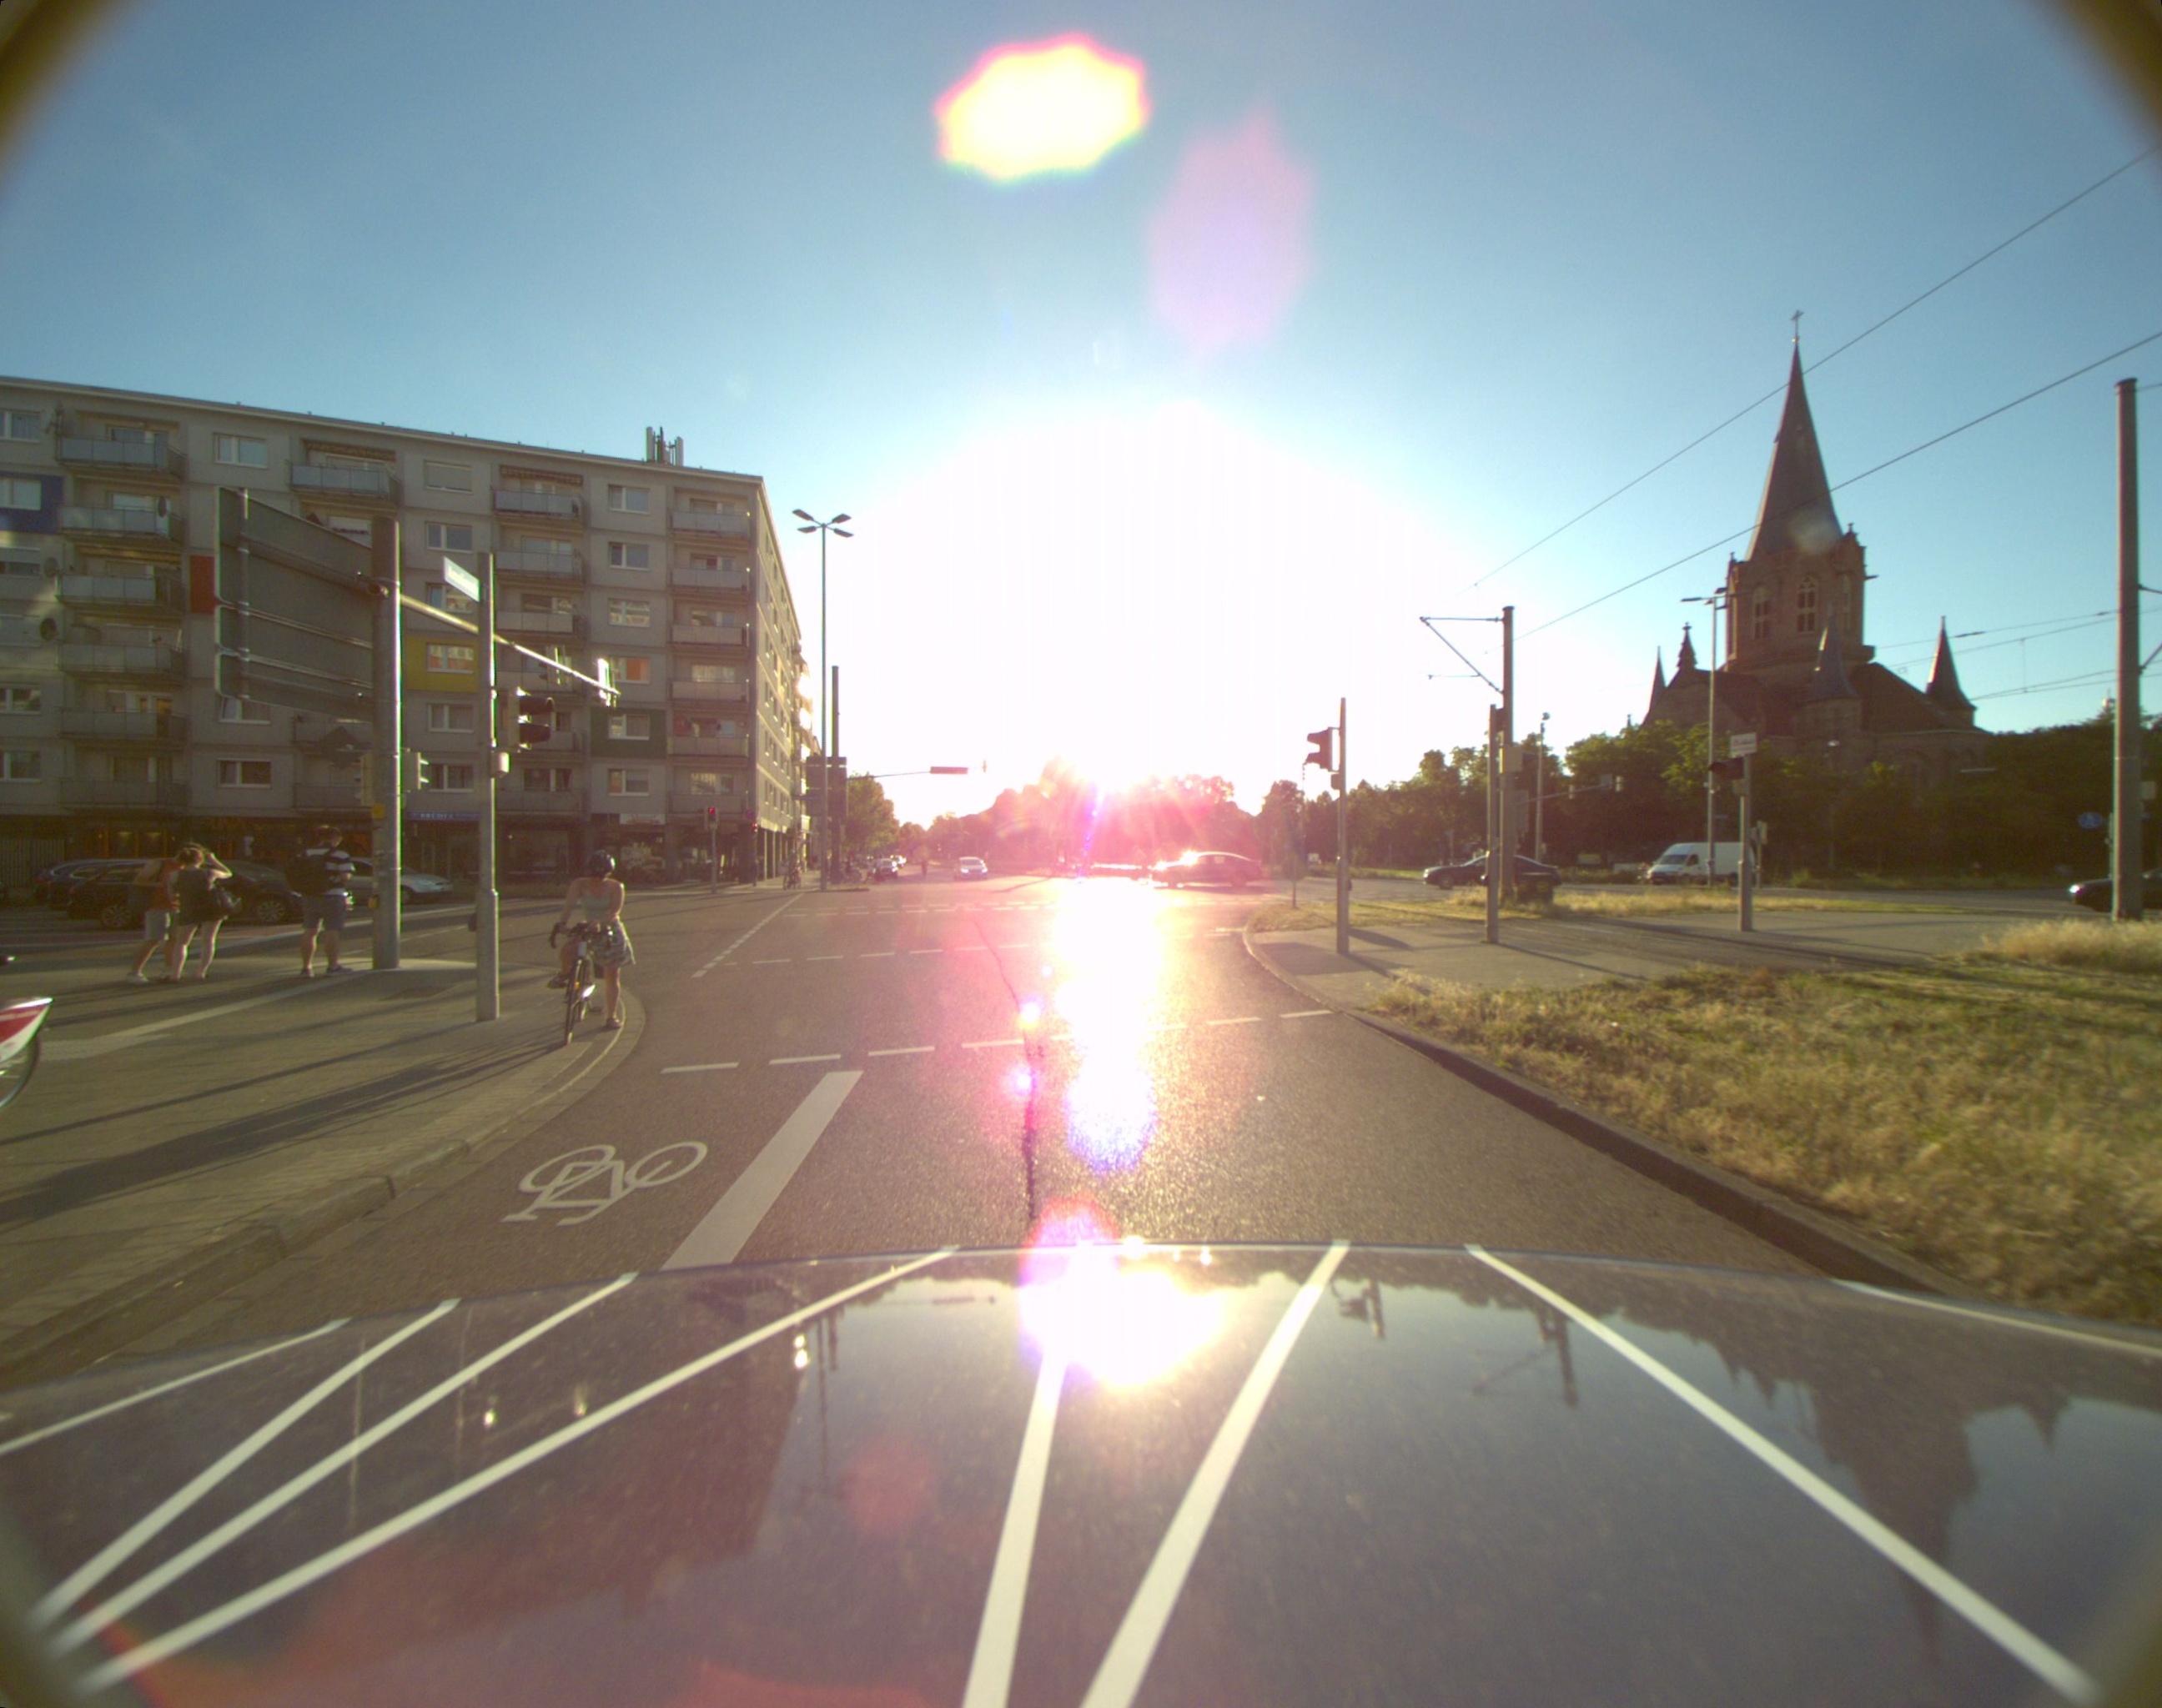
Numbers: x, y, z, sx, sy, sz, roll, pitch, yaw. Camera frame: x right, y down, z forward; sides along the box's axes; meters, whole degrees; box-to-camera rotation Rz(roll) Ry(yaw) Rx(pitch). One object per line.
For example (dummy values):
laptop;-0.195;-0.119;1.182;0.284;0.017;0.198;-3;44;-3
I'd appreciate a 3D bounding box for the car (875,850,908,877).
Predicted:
car;-14.715;0.693;58.872;2.002;2.002;3.993;-1;0;-20

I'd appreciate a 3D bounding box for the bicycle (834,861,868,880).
bicycle;-14.194;1.017;46.846;1.958;1.114;0.458;-1;0;-13

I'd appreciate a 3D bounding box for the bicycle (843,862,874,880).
bicycle;-14.749;1.128;50.342;1.958;1.114;0.458;-1;0;-13

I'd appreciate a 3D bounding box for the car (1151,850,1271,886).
car;5.622;0.594;33.473;5.037;1.428;1.879;1;1;4

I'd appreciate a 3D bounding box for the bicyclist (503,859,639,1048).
bicyclist;-4.312;0.790;6.498;0.799;1.472;0.805;-1;0;-23

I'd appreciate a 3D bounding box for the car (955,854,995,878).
car;-7.050;0.789;50.244;1.958;1.484;3.953;-1;0;-18

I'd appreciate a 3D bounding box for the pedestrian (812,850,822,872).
pedestrian;-23.654;0.643;68.045;0.718;2.002;0.645;-1;1;-15

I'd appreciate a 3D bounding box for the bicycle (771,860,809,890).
bicycle;-11.831;0.826;30.919;0.490;1.175;1.973;-1;0;9

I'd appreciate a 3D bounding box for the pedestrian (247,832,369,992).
pedestrian;-9.852;0.700;9.710;0.701;1.946;0.849;0;1;16

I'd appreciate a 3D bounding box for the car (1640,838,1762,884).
car;39.688;0.424;48.665;7.206;2.861;2.306;0;0;-15

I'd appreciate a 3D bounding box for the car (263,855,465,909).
car;-21.482;0.794;22.959;4.013;1.460;1.918;-1;0;-10

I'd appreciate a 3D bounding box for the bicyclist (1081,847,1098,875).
bicyclist;0.471;0.382;43.398;0.734;1.559;0.822;-1;0;-17

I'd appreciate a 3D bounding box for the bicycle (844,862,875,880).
bicycle;-14.946;1.148;51.374;1.958;1.114;0.458;-1;0;-13

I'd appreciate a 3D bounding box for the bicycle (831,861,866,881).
bicycle;-13.827;1.015;45.271;1.958;1.114;0.458;-1;0;-13

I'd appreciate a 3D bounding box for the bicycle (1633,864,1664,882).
bicycle;37.824;1.246;50.634;1.972;1.175;0.490;-1;0;-12

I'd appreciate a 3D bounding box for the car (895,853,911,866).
car;-23.293;0.716;99.434;2.001;1.739;3.995;-1;0;-14

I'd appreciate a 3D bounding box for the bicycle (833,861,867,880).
bicycle;-14.068;1.019;46.328;1.958;1.114;0.458;-1;0;-13

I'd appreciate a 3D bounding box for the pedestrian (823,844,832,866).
pedestrian;-22.799;0.106;68.375;0.656;2.002;0.751;0;0;-15

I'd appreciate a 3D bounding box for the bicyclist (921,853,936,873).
bicyclist;-11.537;0.673;57.578;0.997;1.529;0.921;-1;0;-17

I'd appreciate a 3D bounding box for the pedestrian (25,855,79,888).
pedestrian;-41.758;0.706;30.840;1.046;1.290;0.905;-1;0;10

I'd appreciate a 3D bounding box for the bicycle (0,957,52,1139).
bicycle;-6.238;1.143;3.817;0.361;1.021;1.791;-1;0;-22

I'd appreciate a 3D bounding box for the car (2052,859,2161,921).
car;28.396;0.911;19.379;2.001;1.533;3.995;-1;0;-15

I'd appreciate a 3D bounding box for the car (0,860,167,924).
car;-26.427;0.934;18.975;4.243;1.460;1.998;-1;1;-10

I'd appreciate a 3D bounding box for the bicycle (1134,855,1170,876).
bicycle;3.989;0.651;42.644;1.972;1.175;0.490;0;0;-12

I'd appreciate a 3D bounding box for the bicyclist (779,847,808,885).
bicyclist;-11.791;0.484;31.183;0.822;1.559;0.734;-1;0;11

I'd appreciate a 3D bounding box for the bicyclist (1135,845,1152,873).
bicyclist;3.492;0.274;42.541;0.734;1.559;0.822;-1;0;-11

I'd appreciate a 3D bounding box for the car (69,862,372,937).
car;-19.621;0.973;17.594;4.192;1.418;1.928;-1;2;-16

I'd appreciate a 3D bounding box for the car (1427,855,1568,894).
car;17.164;0.832;31.531;5.013;1.498;1.728;-1;-1;28

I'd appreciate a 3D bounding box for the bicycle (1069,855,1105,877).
bicycle;0.333;0.680;43.348;1.973;1.175;0.490;-1;0;-16

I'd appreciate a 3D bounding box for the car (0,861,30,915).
car;-31.889;0.960;20.189;4.542;1.486;1.703;-1;0;-15

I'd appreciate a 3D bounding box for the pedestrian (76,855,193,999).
pedestrian;-11.595;0.860;9.334;0.518;1.683;0.771;0;1;-12

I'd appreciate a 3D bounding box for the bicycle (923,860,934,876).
bicycle;-11.578;1.037;57.677;0.576;1.193;2.203;-1;0;-16

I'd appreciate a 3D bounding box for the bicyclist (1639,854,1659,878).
bicyclist;37.868;0.808;50.661;0.734;1.559;0.822;-1;0;-11

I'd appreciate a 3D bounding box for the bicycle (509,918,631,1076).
bicycle;-4.346;1.141;6.575;0.516;1.021;1.791;-1;0;-23

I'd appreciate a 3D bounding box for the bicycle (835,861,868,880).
bicycle;-14.298;1.026;47.380;1.958;1.114;0.458;-1;0;-13

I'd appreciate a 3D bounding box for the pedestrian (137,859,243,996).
pedestrian;-11.052;0.877;9.451;0.518;1.635;0.707;0;1;-12

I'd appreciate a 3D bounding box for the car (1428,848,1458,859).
car;61.188;-0.087;128.533;2.004;1.811;4.120;-1;0;-43
